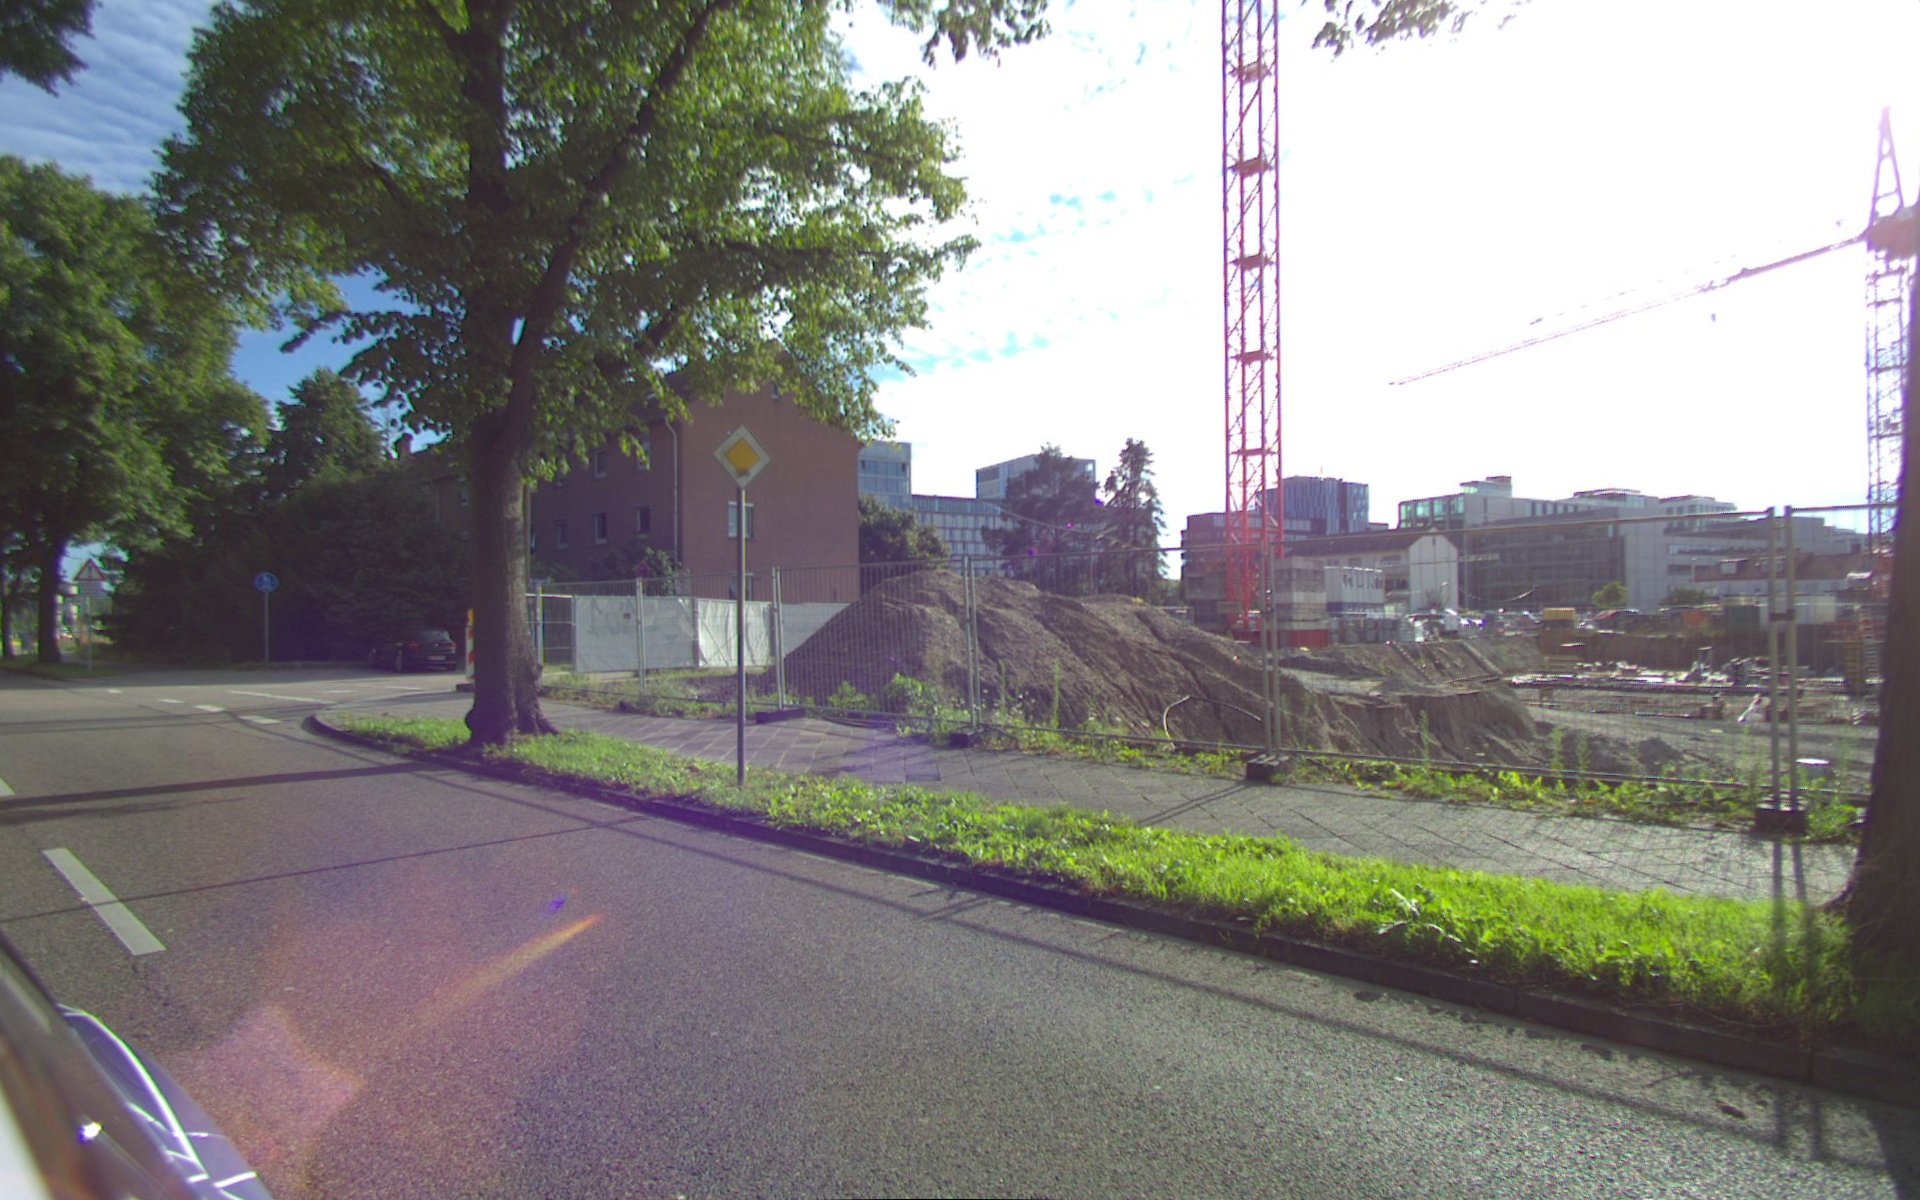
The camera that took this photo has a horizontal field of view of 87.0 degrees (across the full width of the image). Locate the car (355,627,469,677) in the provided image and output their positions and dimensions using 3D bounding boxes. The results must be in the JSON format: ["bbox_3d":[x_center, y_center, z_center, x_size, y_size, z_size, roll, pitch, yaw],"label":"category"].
[{"bbox_3d":[-17.820,1.633,32.806,4.509,1.439,1.971,0,-2,44],"label":"car"}]

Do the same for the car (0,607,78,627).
[{"bbox_3d":[-90.822,1.675,99.369,6.162,1.881,2.479,-1,0,-2],"label":"car"}]
